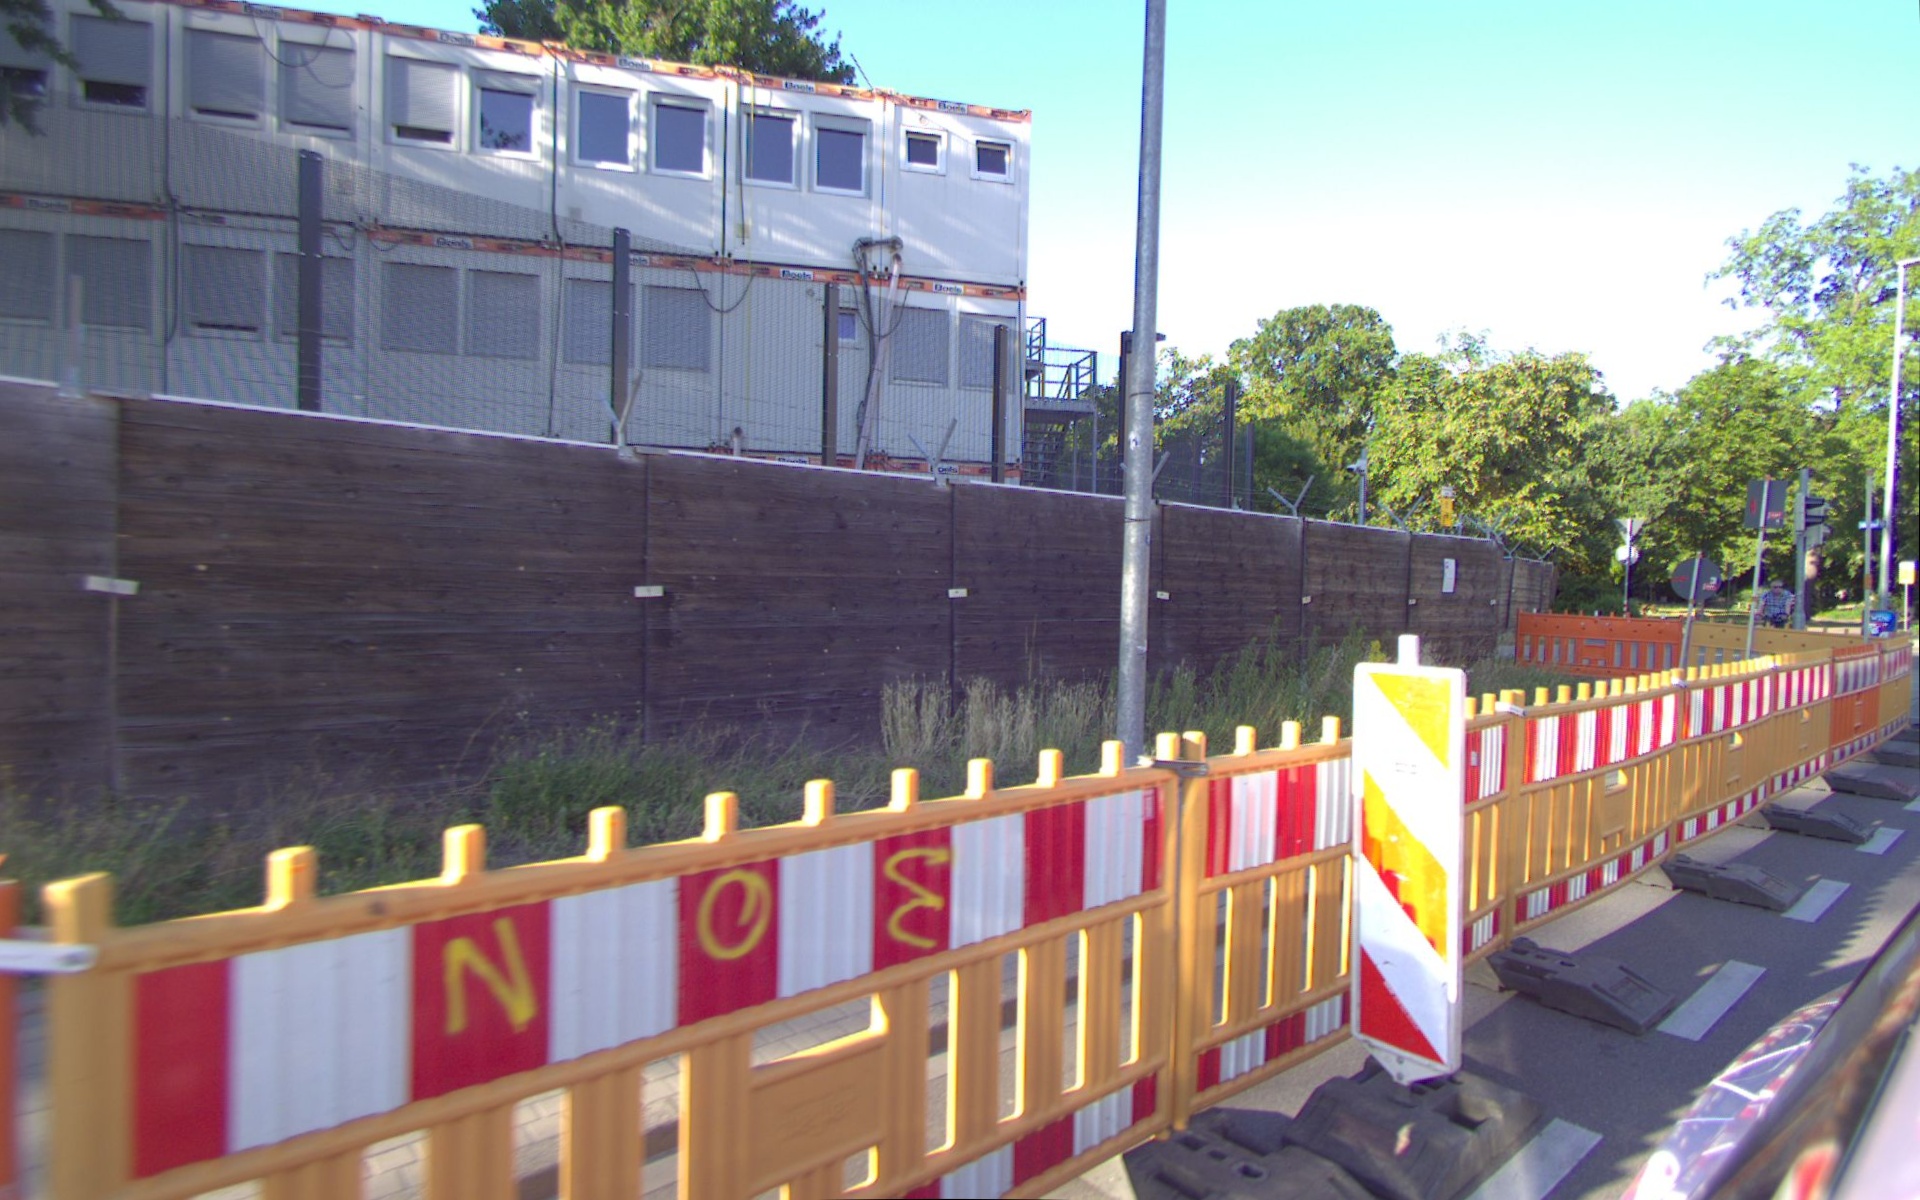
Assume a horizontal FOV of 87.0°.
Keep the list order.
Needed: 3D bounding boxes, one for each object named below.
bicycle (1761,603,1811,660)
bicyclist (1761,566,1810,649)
[{"bbox_3d":[16.799,0.614,20.570,1.877,1.074,0.428,-1,2,-40],"label":"bicycle"},{"bbox_3d":[16.656,0.142,20.420,0.887,1.634,0.585,0,1,-40],"label":"bicyclist"}]
